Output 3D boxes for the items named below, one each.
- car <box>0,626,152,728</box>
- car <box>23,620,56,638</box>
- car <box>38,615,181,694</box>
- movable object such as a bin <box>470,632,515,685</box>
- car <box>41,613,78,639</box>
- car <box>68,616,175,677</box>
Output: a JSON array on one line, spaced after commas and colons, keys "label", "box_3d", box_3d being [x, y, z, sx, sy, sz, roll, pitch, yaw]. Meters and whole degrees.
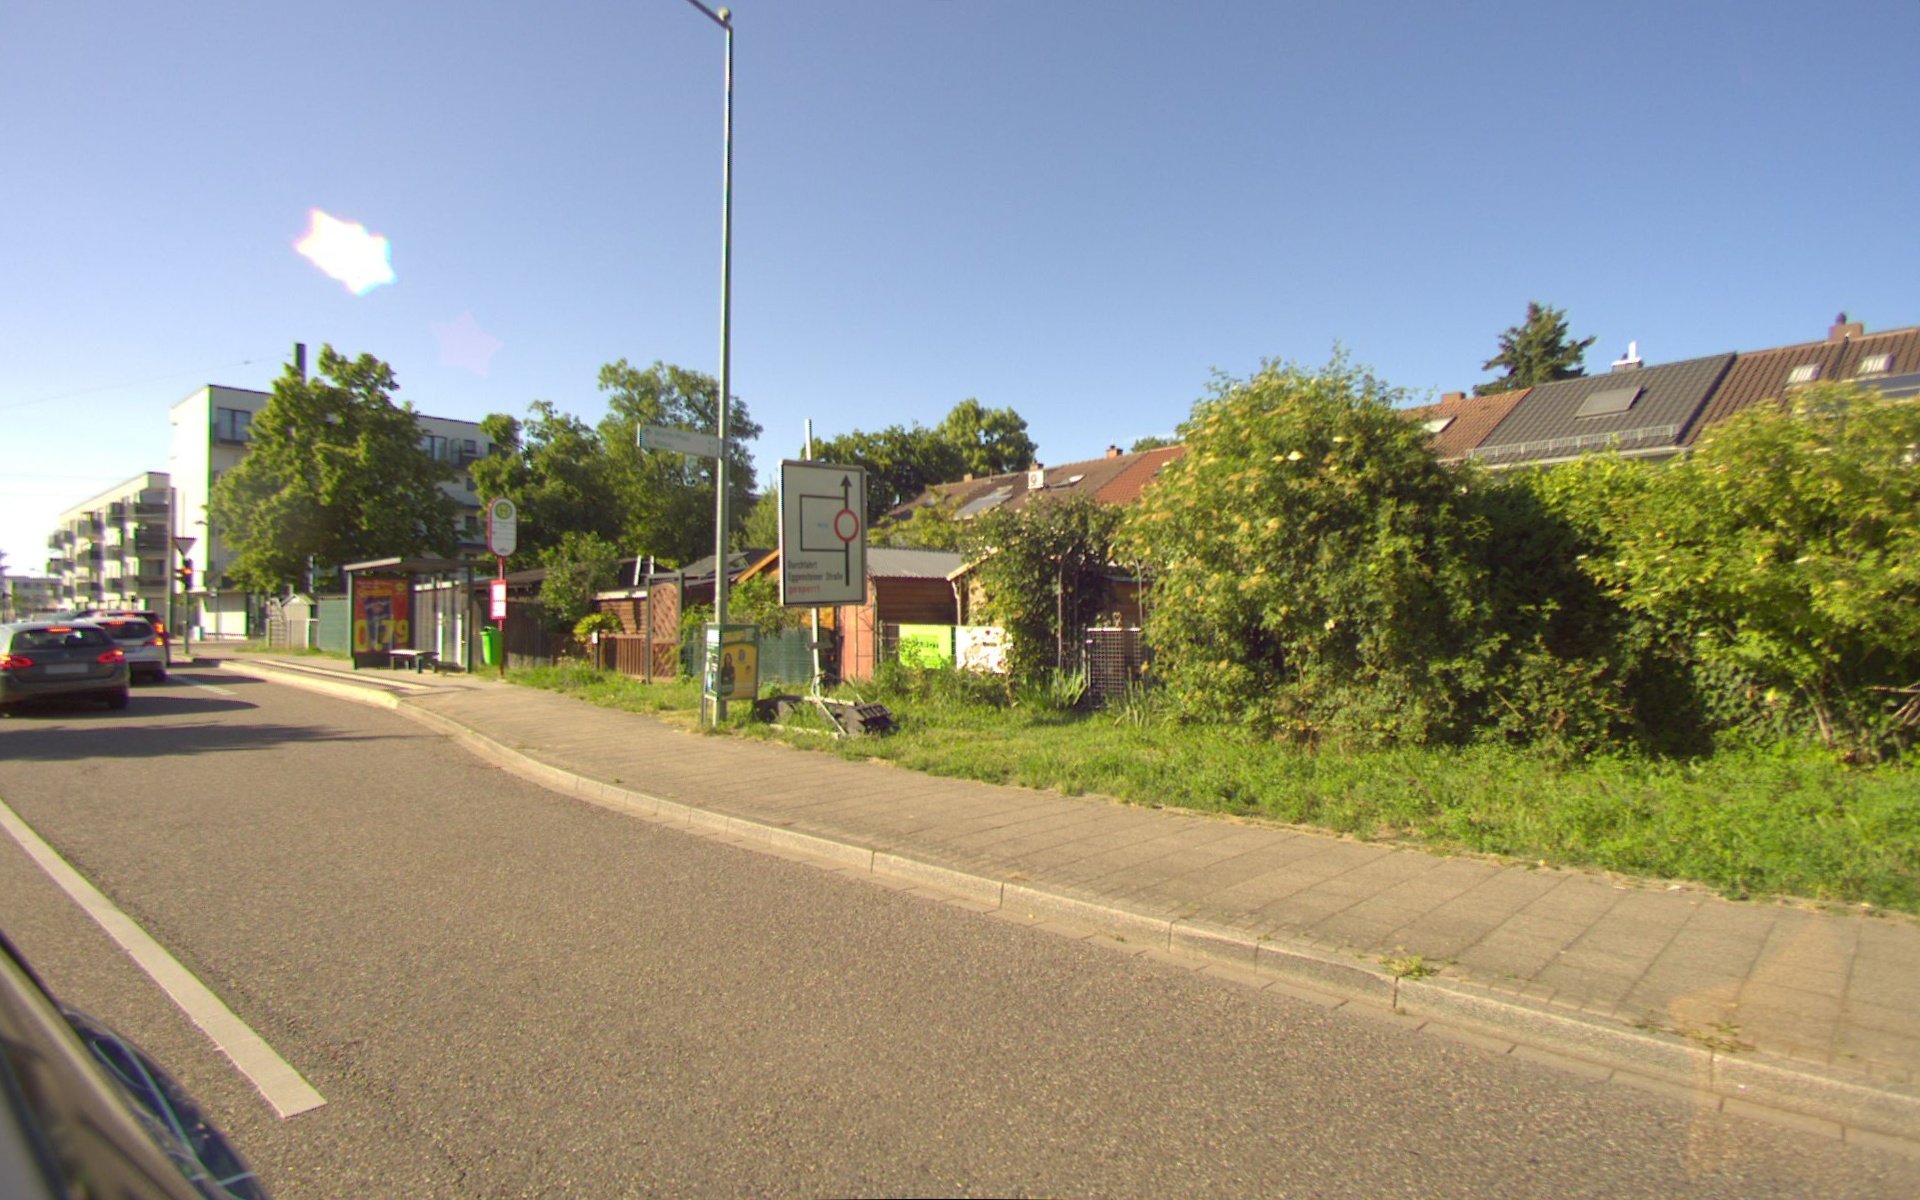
[{"label": "car", "box_3d": [-15.429, 1.200, 17.108, 4.447, 1.454, 1.973, -1, 0, 41]}, {"label": "car", "box_3d": [-87.158, 2.734, 95.798, 4.000, 1.565, 1.972, 1, -1, 42]}, {"label": "car", "box_3d": [-19.362, 1.145, 22.965, 2.183, 1.603, 4.538, 1, -1, -44]}, {"label": "movable object such as a bin", "box_3d": [-9.184, 1.129, 19.879, 0.558, 0.975, 0.586, -2, 2, 44]}, {"label": "car", "box_3d": [-75.433, 2.135, 84.738, 4.001, 2.029, 1.971, 1, -1, 44]}, {"label": "car", "box_3d": [-23.742, 1.260, 28.608, 4.182, 1.601, 1.918, -1, -1, 44]}]
